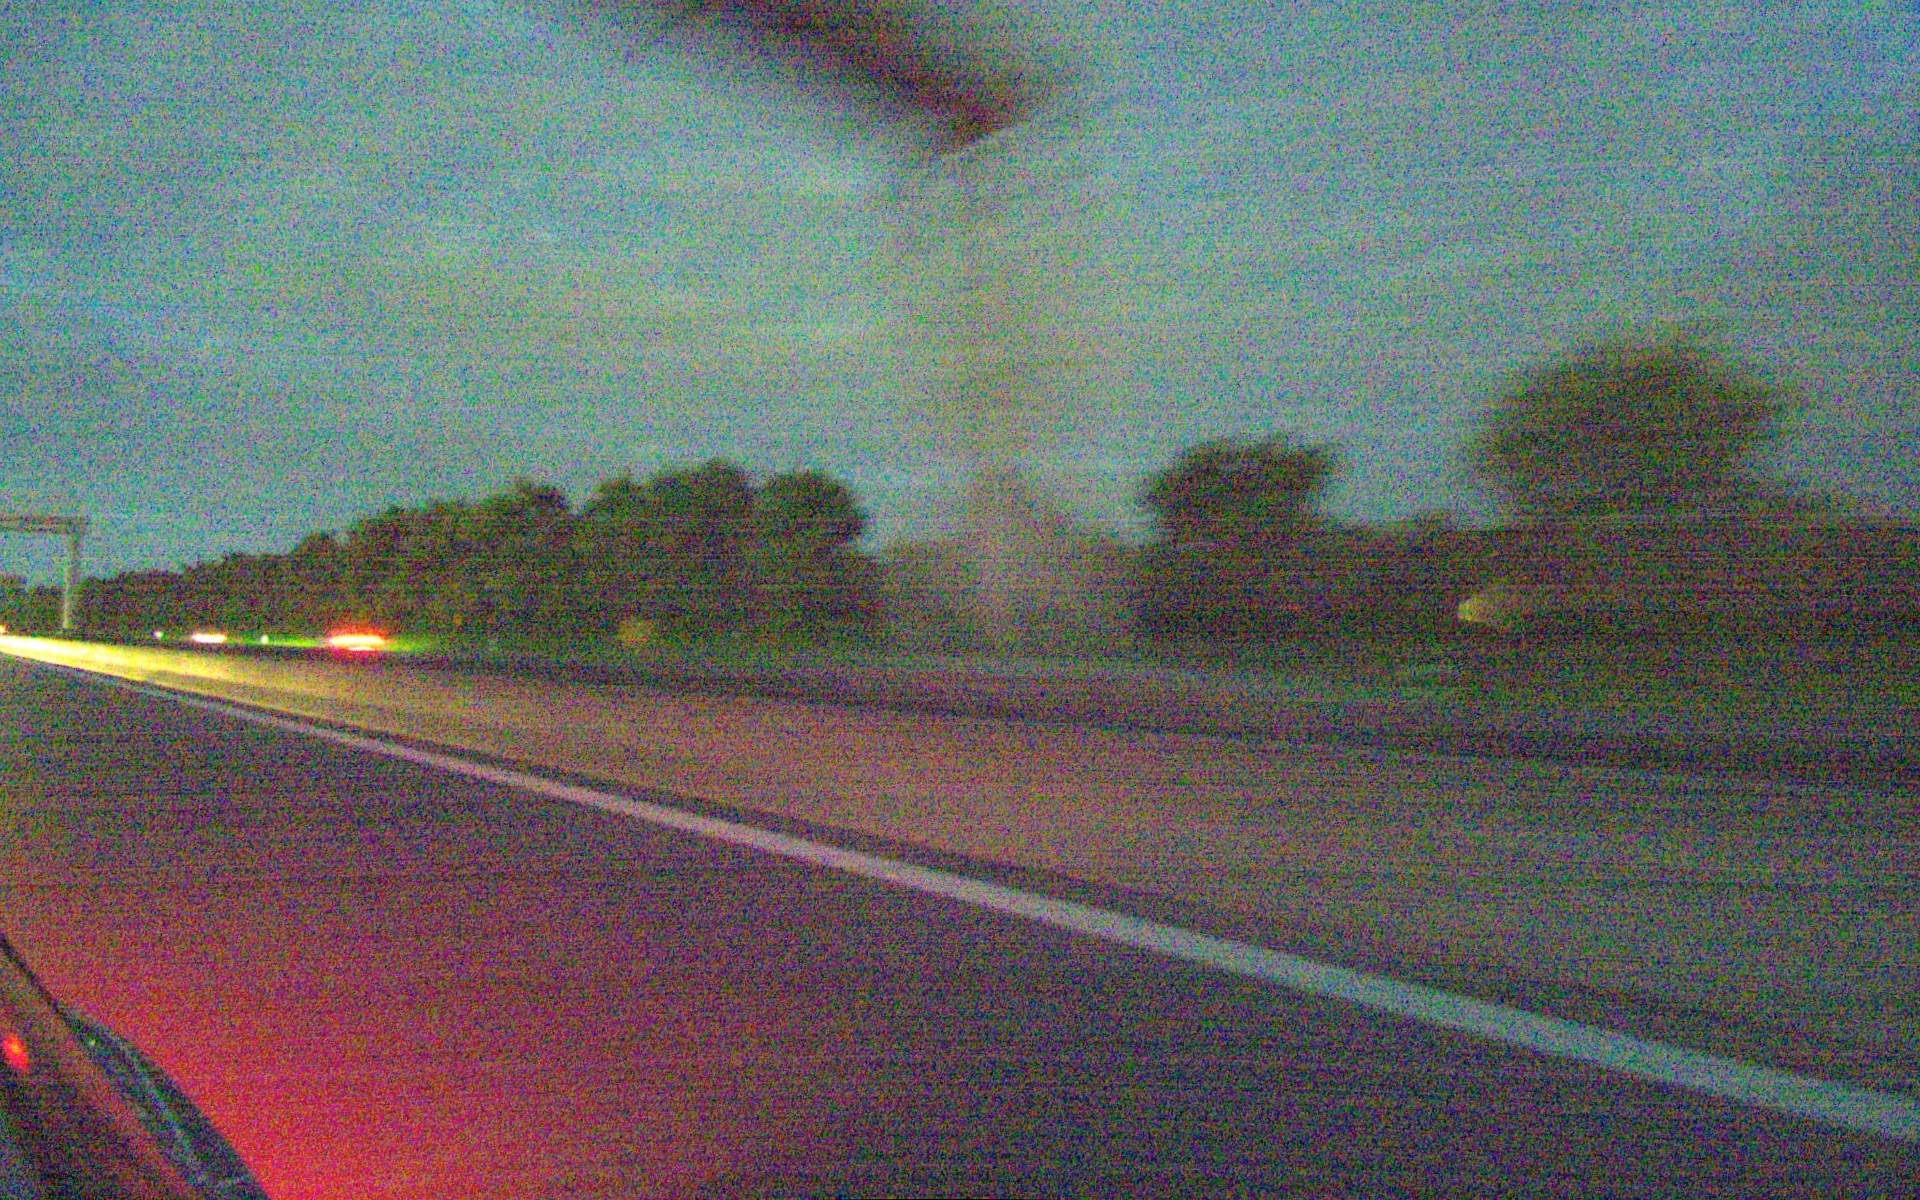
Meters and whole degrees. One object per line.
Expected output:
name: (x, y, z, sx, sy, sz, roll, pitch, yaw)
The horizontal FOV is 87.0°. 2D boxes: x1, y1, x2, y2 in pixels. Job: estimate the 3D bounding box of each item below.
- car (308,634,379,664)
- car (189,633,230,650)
car: (-33.441, 2.601, 54.842, 5.185, 1.549, 1.942, -2, -3, 43)
car: (-59.540, 3.301, 80.241, 4.350, 1.292, 1.882, -2, -3, 43)
